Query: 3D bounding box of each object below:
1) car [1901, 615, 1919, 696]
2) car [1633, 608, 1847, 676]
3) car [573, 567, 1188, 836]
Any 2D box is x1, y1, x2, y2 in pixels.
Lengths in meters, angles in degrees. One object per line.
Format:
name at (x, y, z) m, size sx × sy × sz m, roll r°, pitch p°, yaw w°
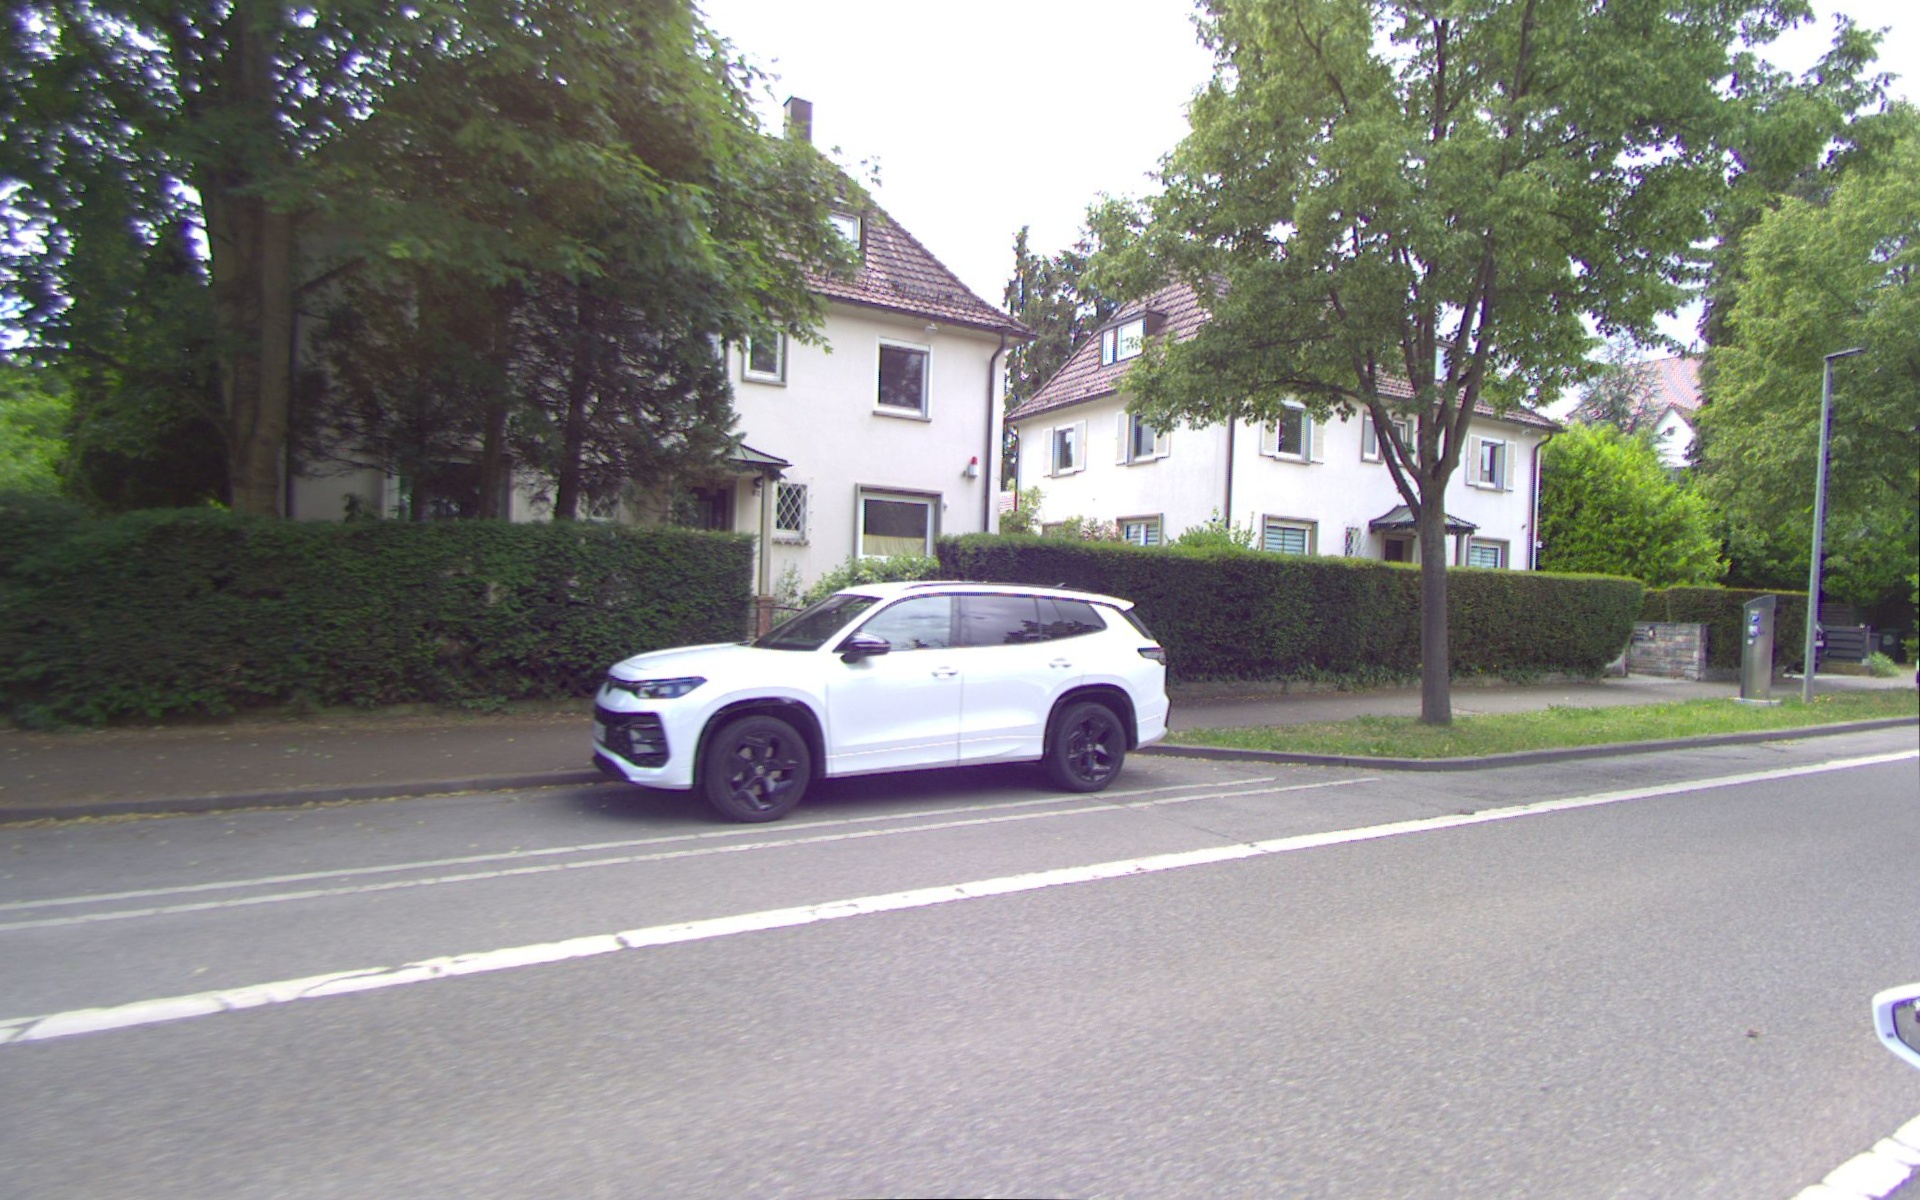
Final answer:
car at (22.730, 1.238, 21.972) m, size 4.809 × 1.711 × 1.865 m, roll 1°, pitch 0°, yaw -30°
car at (20.677, 1.061, 26.812) m, size 1.744 × 1.606 × 4.178 m, roll 1°, pitch 0°, yaw -30°
car at (-0.552, 0.662, 8.155) m, size 4.640 × 1.674 × 1.809 m, roll 1°, pitch 1°, yaw -28°
